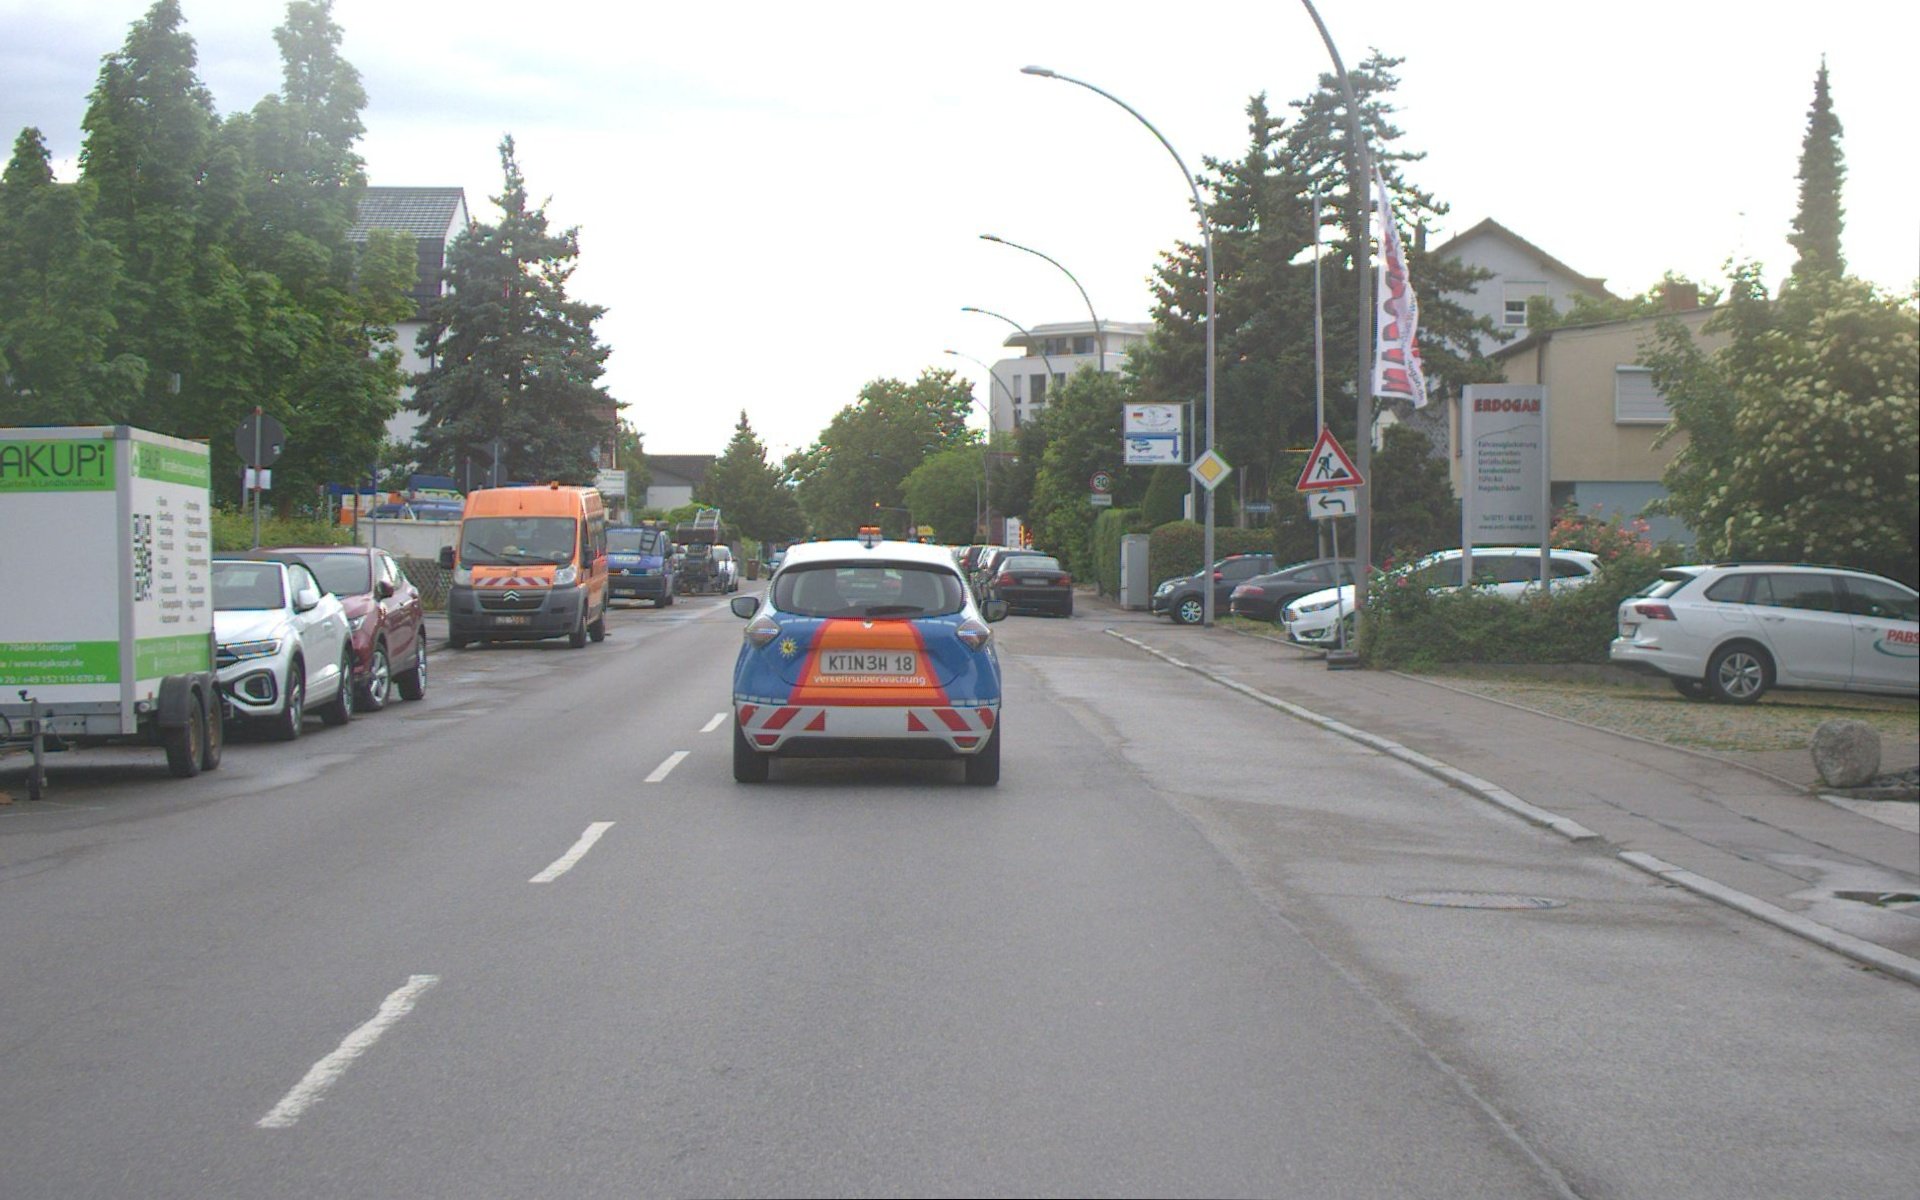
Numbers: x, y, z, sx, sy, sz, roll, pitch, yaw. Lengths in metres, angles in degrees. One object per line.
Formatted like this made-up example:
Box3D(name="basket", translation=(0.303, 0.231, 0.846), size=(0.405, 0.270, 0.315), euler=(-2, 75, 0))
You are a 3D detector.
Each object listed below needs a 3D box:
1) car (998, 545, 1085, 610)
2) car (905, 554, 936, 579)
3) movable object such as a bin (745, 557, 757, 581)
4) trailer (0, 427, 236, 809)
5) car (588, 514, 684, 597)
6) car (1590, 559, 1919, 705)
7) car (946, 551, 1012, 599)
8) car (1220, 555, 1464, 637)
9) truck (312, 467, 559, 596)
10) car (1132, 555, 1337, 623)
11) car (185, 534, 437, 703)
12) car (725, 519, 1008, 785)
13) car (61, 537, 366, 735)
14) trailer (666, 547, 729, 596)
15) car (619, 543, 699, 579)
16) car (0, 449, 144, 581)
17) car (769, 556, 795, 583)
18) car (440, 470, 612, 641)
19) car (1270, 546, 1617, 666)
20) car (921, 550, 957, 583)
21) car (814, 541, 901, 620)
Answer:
Box3D(name="car", translation=(1.802, -0.515, 76.677), size=(1.589, 1.336, 4.093), euler=(2, 1, -3))
Box3D(name="car", translation=(-2.436, -2.036, 210.780), size=(1.650, 1.478, 4.000), euler=(2, 0, -3))
Box3D(name="movable object such as a bin", translation=(-10.600, -1.590, 174.467), size=(0.579, 1.200, 0.318), euler=(2, 0, -1))
Box3D(name="trailer", translation=(-6.259, 0.086, 23.246), size=(1.812, 2.306, 4.731), euler=(-1, 1, -2))
Box3D(name="car", translation=(-8.041, -1.096, 85.623), size=(1.993, 1.940, 5.366), euler=(2, 0, -2))
Box3D(name="car", translation=(8.991, 0.344, 35.873), size=(4.415, 1.388, 1.880), euler=(2, 0, -2))
Box3D(name="car", translation=(0.581, -0.787, 108.383), size=(1.711, 1.433, 4.527), euler=(2, 0, -4))
Box3D(name="car", translation=(6.591, -0.067, 59.601), size=(3.987, 1.262, 1.951), euler=(2, 0, 1))
Box3D(name="truck", translation=(-13.478, -1.749, 88.678), size=(5.911, 3.063, 2.450), euler=(2, 0, 0))
Box3D(name="car", translation=(5.668, -0.231, 71.266), size=(3.986, 1.262, 1.951), euler=(2, 0, -3))
Box3D(name="car", translation=(-6.371, 0.135, 34.175), size=(1.805, 1.568, 4.343), euler=(0, 1, -2))
Box3D(name="car", translation=(-0.641, 0.310, 23.052), size=(1.731, 1.625, 3.495), euler=(1, 0, -2))
Box3D(name="car", translation=(-6.179, 0.247, 28.890), size=(1.772, 1.493, 4.137), euler=(1, 1, -2))
Box3D(name="trailer", translation=(-7.877, -0.879, 103.458), size=(1.717, 1.256, 5.245), euler=(2, 2, -3))
Box3D(name="car", translation=(-14.374, -1.866, 164.102), size=(3.759, 1.571, 1.655), euler=(2, 0, -5))
Box3D(name="car", translation=(-15.544, -1.390, 55.276), size=(4.306, 2.007, 2.063), euler=(2, 0, -1))
Box3D(name="car", translation=(-9.820, -1.686, 189.479), size=(1.386, 1.478, 3.784), euler=(1, 1, -3))
Box3D(name="car", translation=(-6.764, -0.716, 54.226), size=(2.124, 2.529, 6.022), euler=(0, 1, -2))
Box3D(name="car", translation=(6.483, 0.080, 46.387), size=(4.337, 1.470, 1.903), euler=(2, 0, -2))
Box3D(name="car", translation=(-1.097, -1.747, 178.860), size=(1.650, 1.666, 4.000), euler=(2, 0, -3))
Box3D(name="car", translation=(-2.117, -0.401, 70.375), size=(1.650, 1.516, 4.000), euler=(2, 0, -3))
